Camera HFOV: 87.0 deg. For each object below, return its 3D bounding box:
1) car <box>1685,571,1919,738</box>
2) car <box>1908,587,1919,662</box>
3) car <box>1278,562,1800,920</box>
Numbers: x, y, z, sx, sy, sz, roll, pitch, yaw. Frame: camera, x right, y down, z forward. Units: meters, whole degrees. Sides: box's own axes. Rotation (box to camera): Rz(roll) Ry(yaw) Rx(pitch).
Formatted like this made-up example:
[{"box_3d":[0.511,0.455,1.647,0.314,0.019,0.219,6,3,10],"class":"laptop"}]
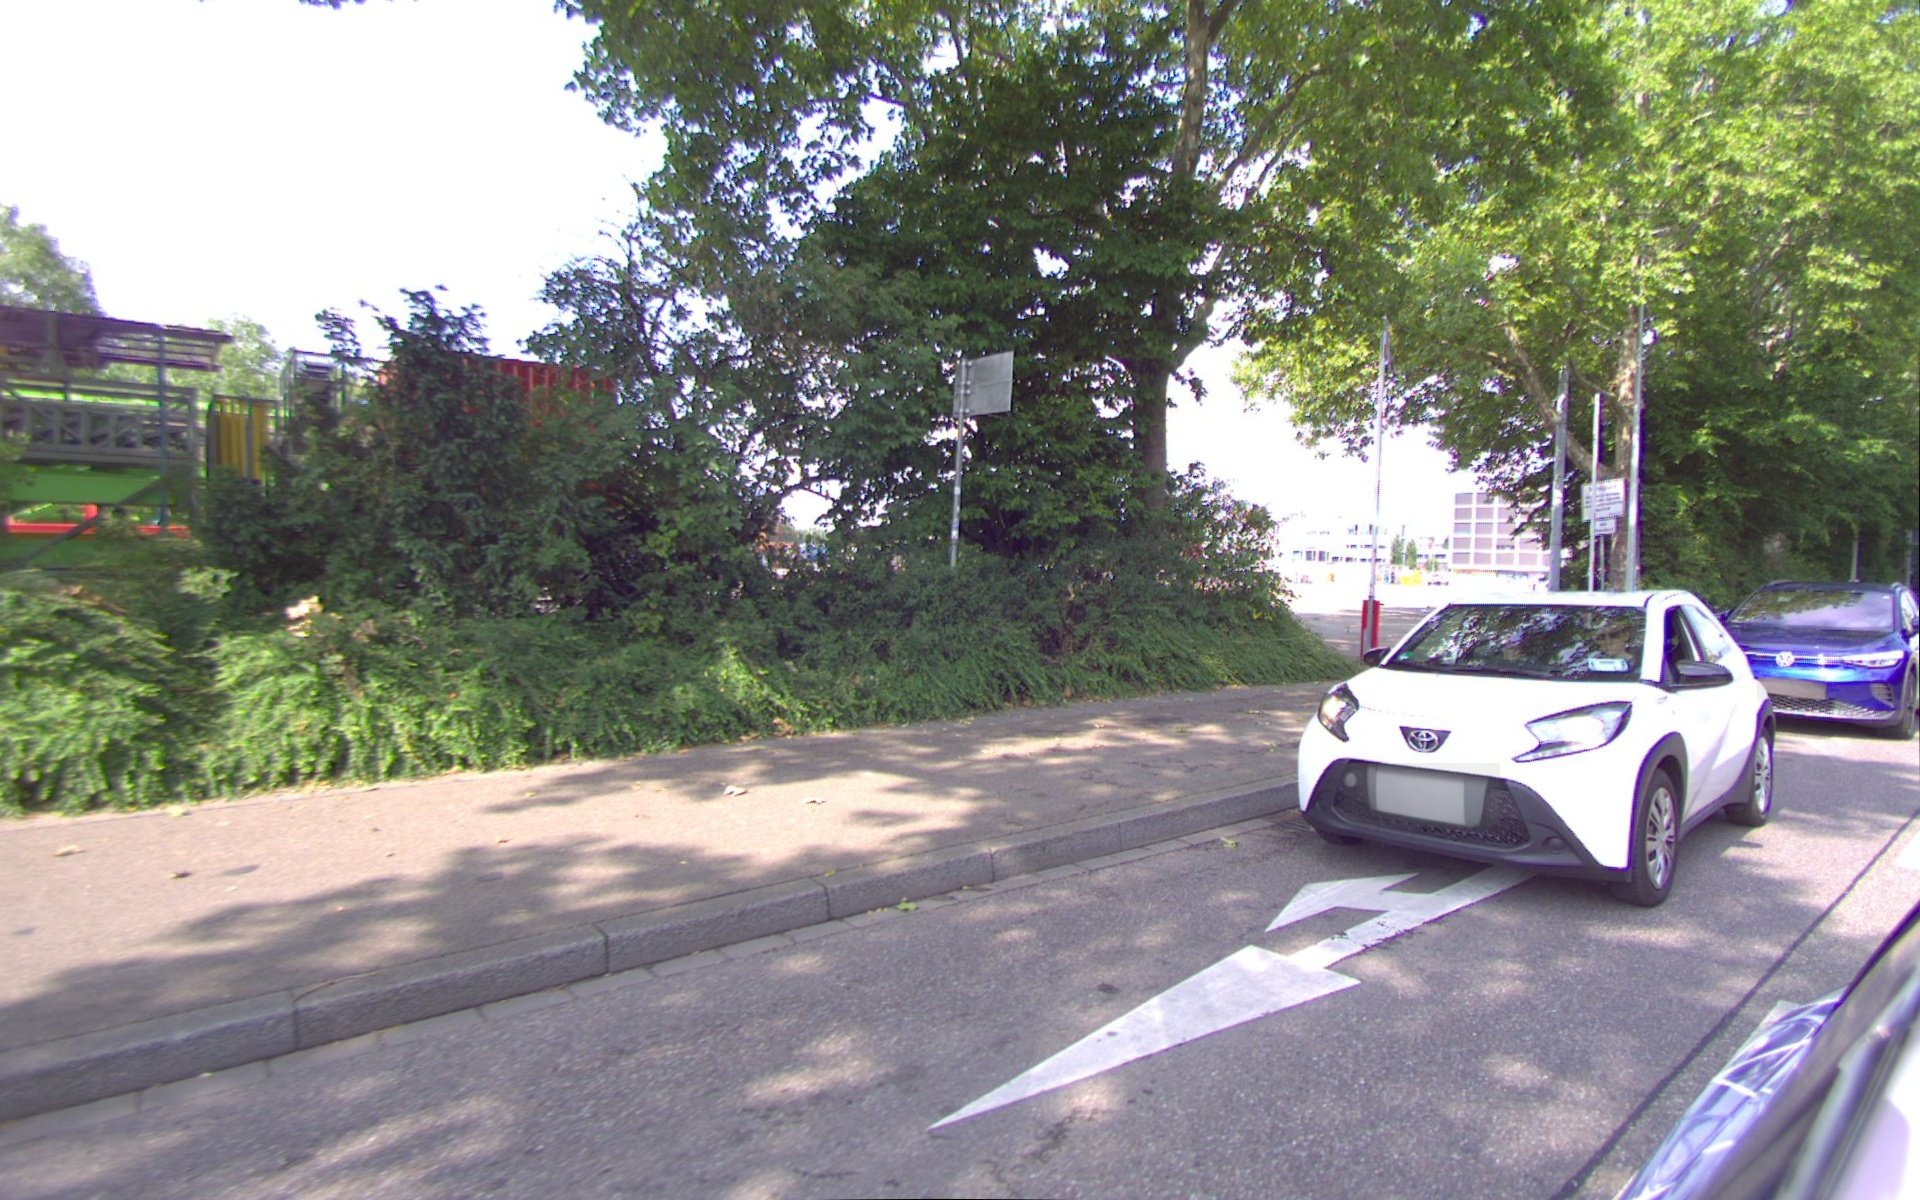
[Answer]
[{"box_3d":[10.300,0.513,11.862,4.499,1.595,1.890,0,0,-40],"class":"car"},{"box_3d":[21.005,0.465,20.810,3.929,1.482,1.770,-1,1,-40],"class":"car"},{"box_3d":[3.689,0.581,6.155,3.735,1.498,1.746,0,0,-43],"class":"car"}]
